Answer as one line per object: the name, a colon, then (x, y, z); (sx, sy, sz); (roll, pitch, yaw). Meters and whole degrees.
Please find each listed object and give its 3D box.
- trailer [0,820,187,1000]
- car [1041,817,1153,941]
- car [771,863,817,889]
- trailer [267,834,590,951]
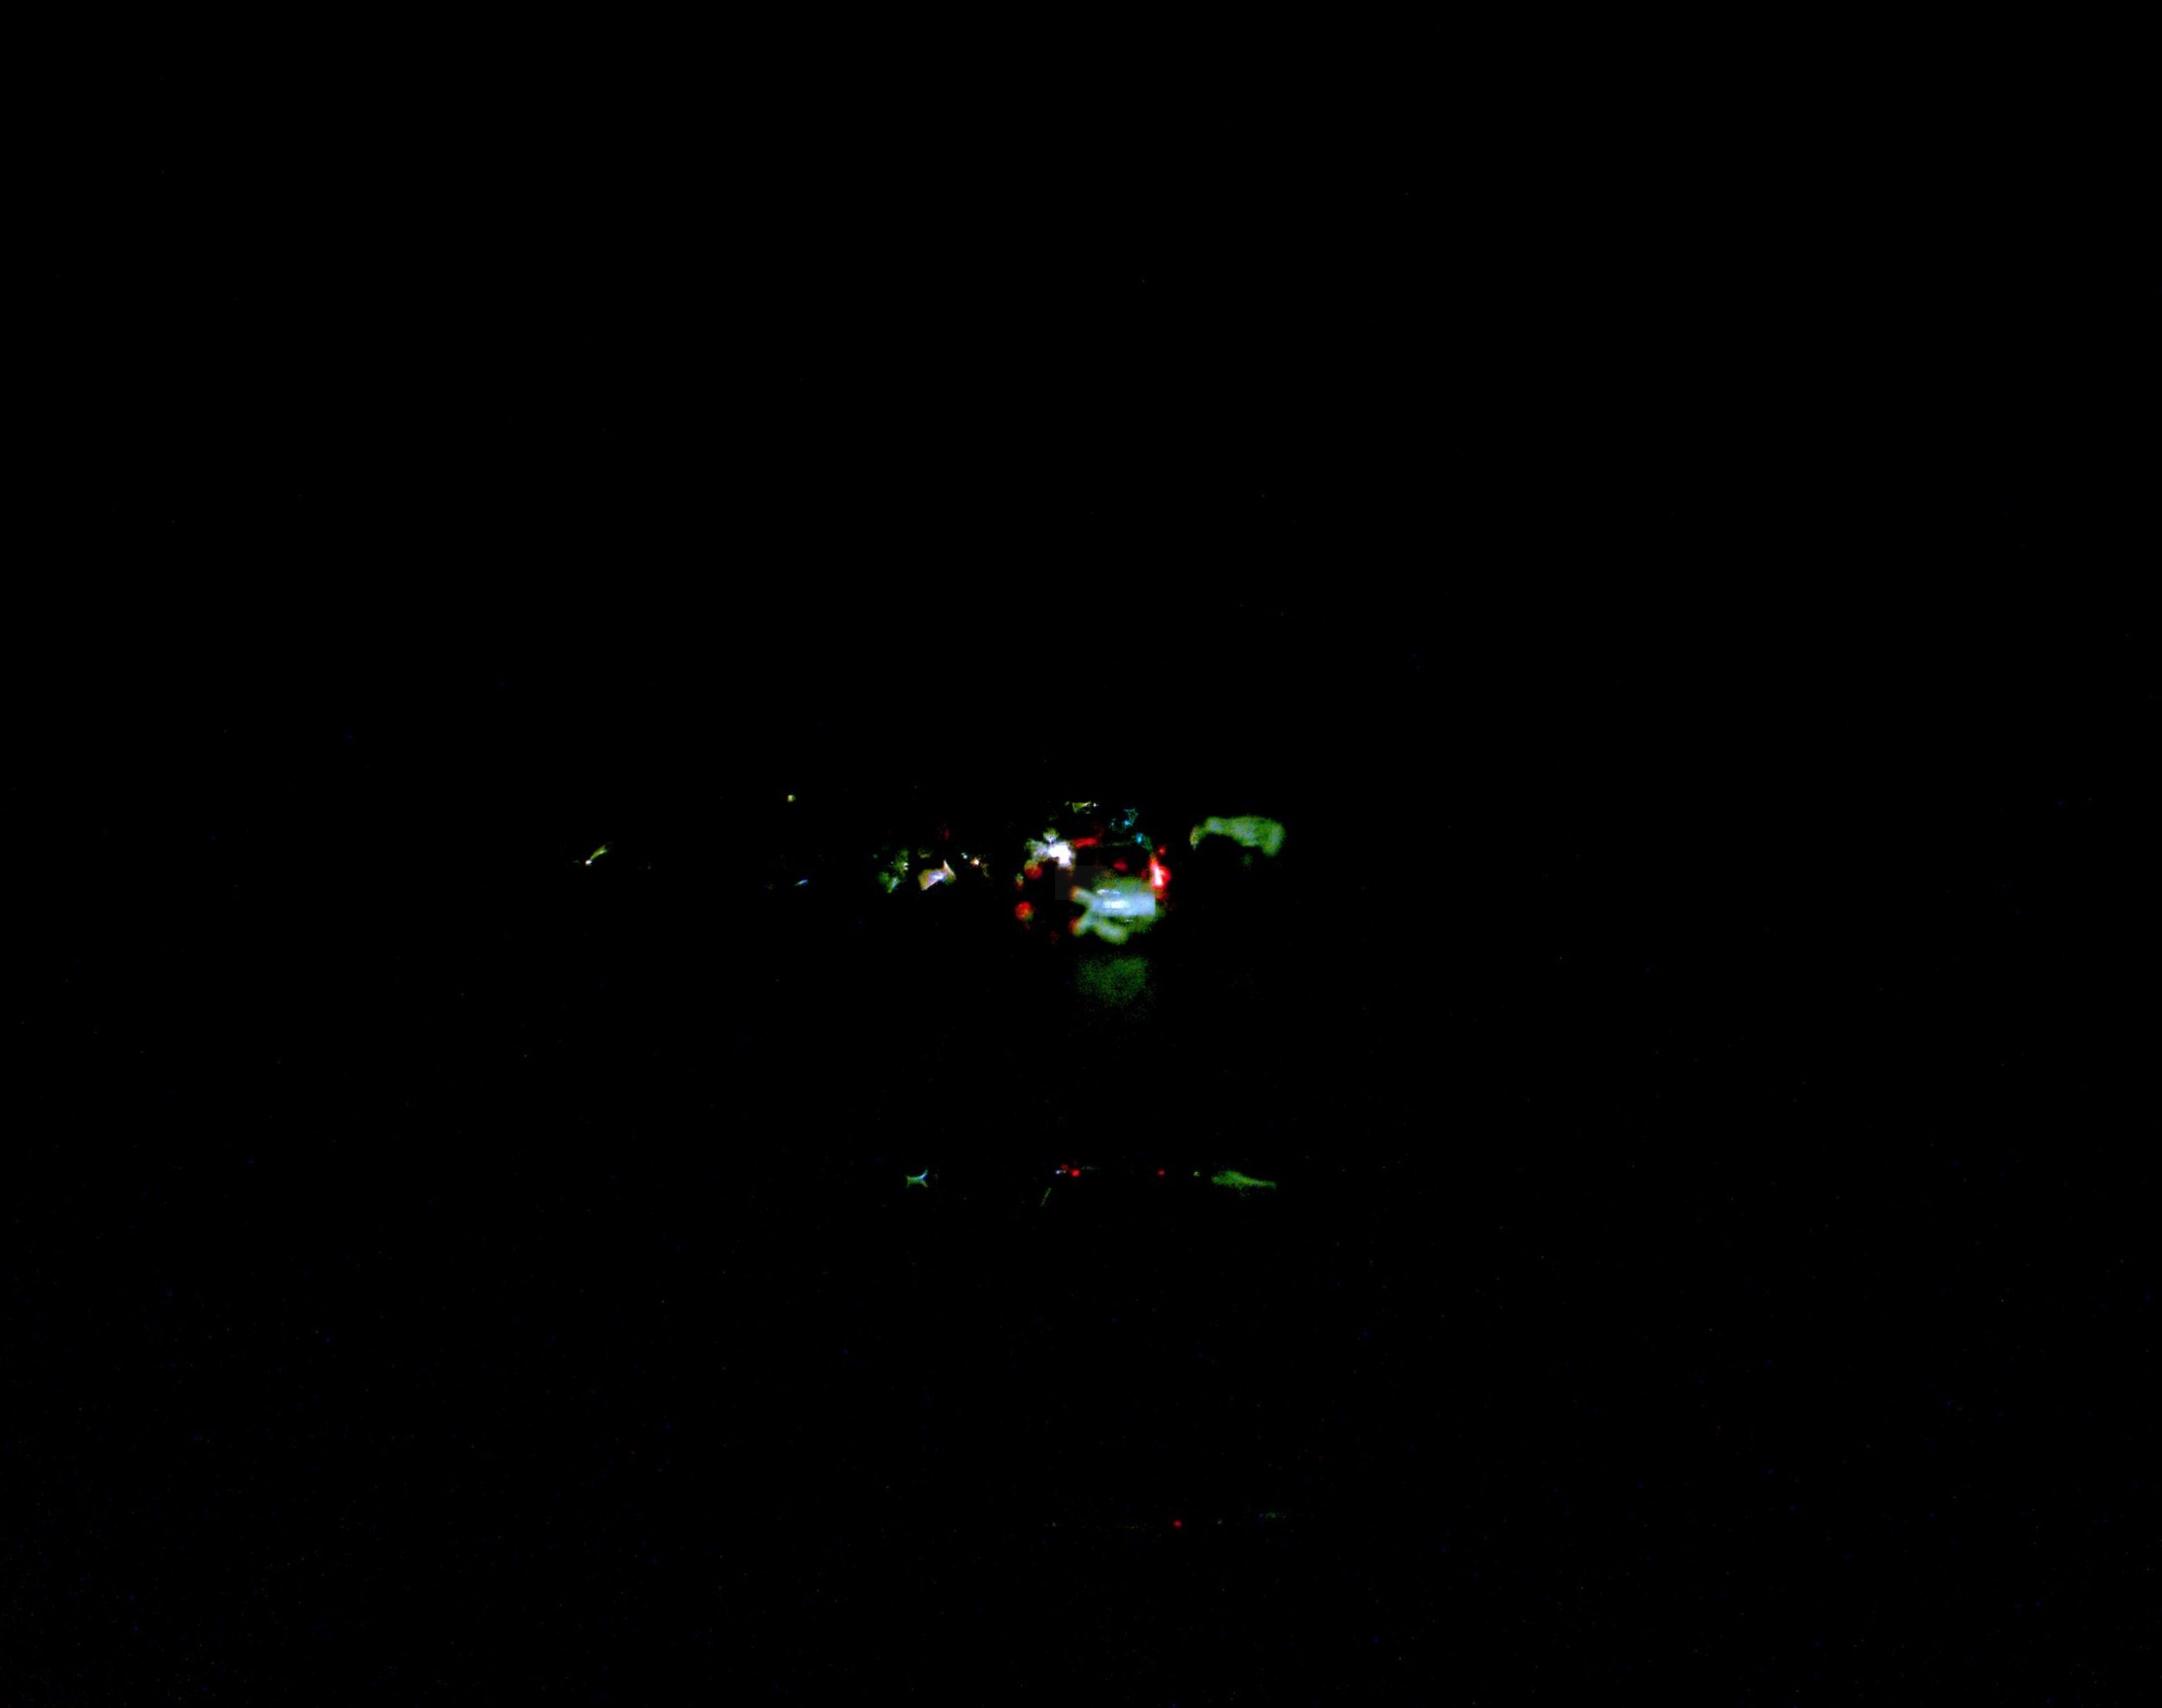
trailer: (-29.834, 1.420, 17.462); (3.957, 4.610, 15.517); (0, -1, 1)
car: (0.334, 0.406, 16.381); (1.785, 2.021, 4.581); (-4, 0, 1)
car: (-20.800, 1.577, 59.157); (1.780, 1.693, 4.218); (-2, 1, 0)
trailer: (-30.222, 1.591, 39.481); (3.957, 4.610, 14.249); (0, -1, 1)
